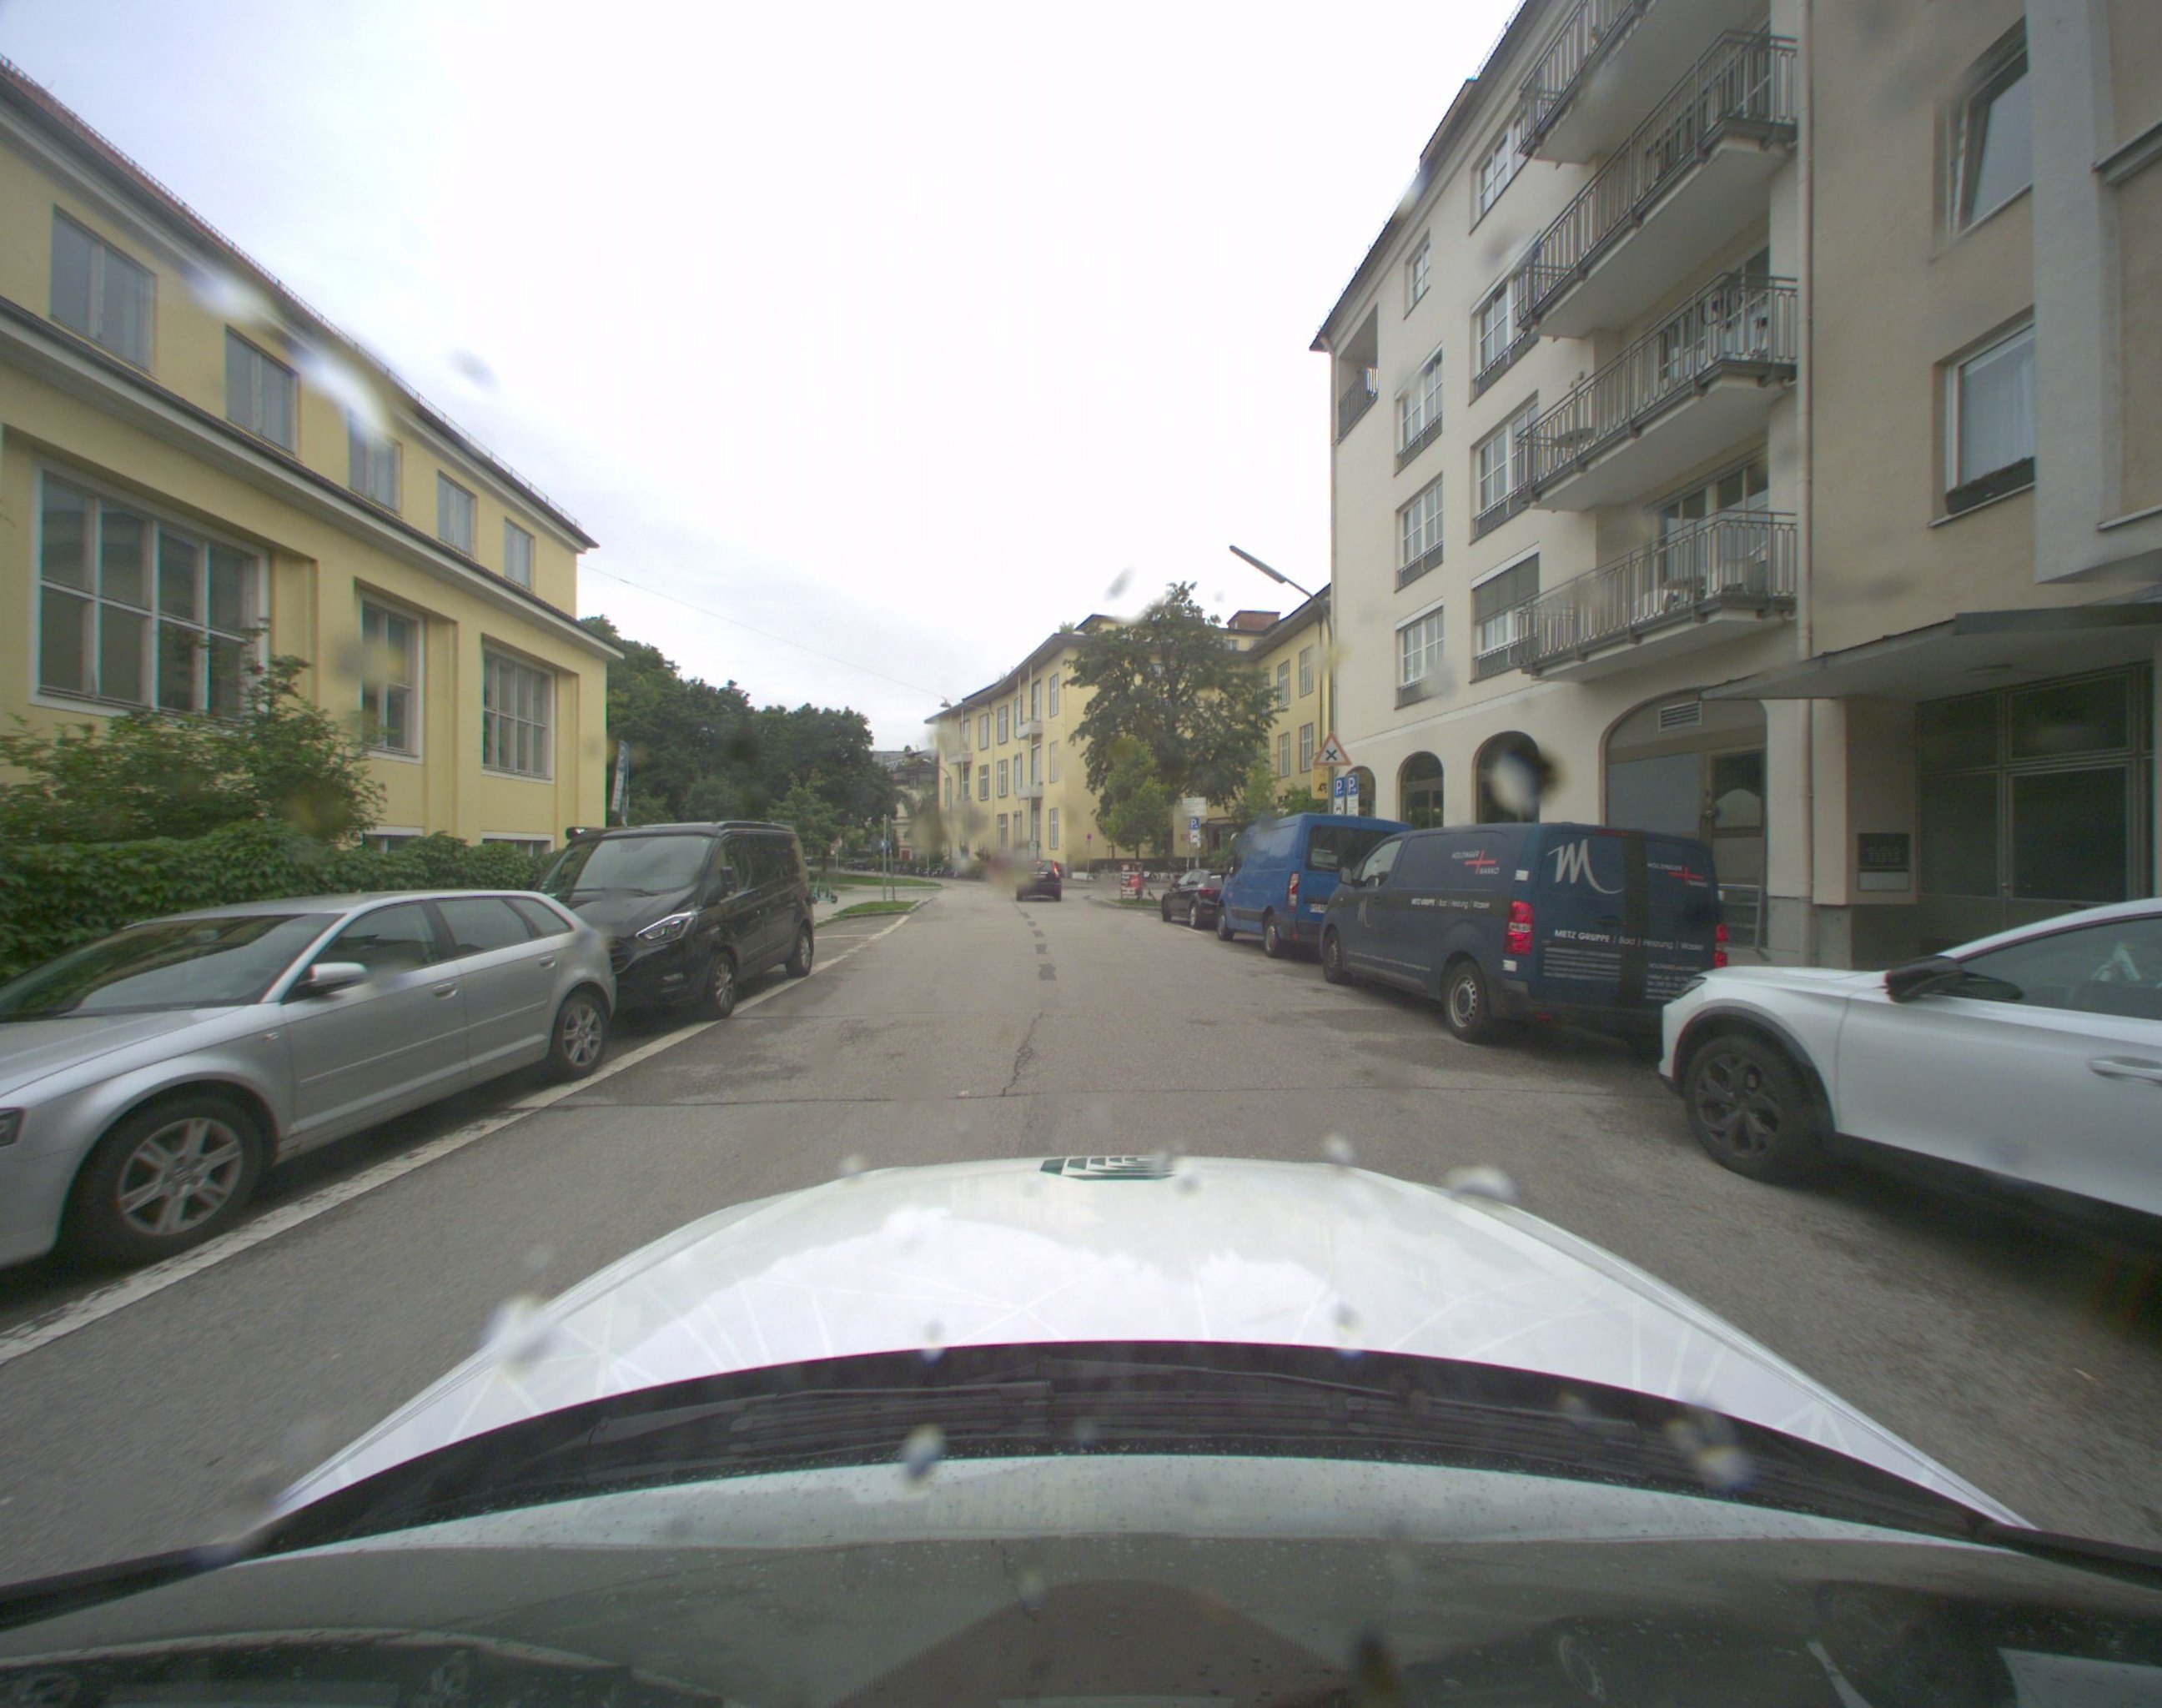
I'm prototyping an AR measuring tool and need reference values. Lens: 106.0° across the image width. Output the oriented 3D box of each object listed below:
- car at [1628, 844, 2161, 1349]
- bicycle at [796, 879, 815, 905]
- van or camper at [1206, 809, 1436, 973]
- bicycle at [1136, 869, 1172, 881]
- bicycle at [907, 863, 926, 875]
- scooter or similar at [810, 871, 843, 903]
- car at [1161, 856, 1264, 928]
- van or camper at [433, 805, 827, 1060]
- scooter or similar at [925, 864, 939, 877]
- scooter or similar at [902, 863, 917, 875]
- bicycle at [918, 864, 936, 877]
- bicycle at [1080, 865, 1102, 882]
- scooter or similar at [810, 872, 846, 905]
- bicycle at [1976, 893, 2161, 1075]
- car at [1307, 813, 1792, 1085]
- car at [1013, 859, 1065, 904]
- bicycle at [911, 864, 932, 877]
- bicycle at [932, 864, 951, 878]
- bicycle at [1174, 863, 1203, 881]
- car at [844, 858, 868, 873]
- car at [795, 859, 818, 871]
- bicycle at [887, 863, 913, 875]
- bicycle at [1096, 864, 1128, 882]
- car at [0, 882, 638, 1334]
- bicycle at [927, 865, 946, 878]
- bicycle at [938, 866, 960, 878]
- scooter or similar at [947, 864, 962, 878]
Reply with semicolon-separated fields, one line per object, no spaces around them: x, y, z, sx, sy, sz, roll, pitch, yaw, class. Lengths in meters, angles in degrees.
4.189;0.793;2.641;1.735;1.537;4.268;4;-1;-3;car
-10.594;1.446;31.265;0.473;0.923;1.193;0;0;-30;bicycle
3.871;0.551;14.393;2.056;2.231;5.431;4;-1;-4;van or camper
4.552;1.306;50.772;2.194;0.779;0.612;0;0;15;bicycle
-15.092;1.371;74.822;0.756;1.085;2.152;-1;0;19;bicycle
-10.178;1.319;32.577;0.441;1.220;1.189;-3;-1;32;scooter or similar
3.223;0.880;20.680;1.700;1.518;3.954;5;-1;-3;car
-4.563;0.667;9.307;1.956;2.065;4.748;-3;0;-3;van or camper
-13.196;1.483;72.118;0.491;1.088;1.417;-1;0;23;scooter or similar
-16.565;1.466;78.772;1.406;1.088;0.594;-1;0;-13;scooter or similar
-13.724;1.434;72.422;0.632;1.085;1.995;-1;0;19;bicycle
0.652;1.288;54.210;0.610;1.072;2.201;-1;0;-21;bicycle
-9.895;1.342;31.819;1.175;1.220;0.601;-3;-1;-3;scooter or similar
7.947;0.916;5.613;1.143;1.186;2.207;0;0;0;bicycle
4.122;0.712;8.420;1.959;1.816;4.932;6;-1;-2;car
-1.793;1.096;33.826;1.992;1.694;4.373;1;0;-4;car
-14.284;1.442;73.109;0.690;1.085;2.350;-1;0;19;bicycle
-12.175;1.483;71.274;0.570;1.085;1.945;-1;0;27;bicycle
6.707;1.114;50.828;1.729;1.150;0.610;0;0;-1;bicycle
-25.802;1.327;93.310;1.874;1.634;4.244;0;0;-28;car
-38.851;1.598;115.024;2.190;1.657;4.461;0;0;-31;car
-17.861;1.485;80.353;2.349;1.085;0.685;-1;0;-36;bicycle
1.951;1.176;52.068;2.189;1.117;0.614;0;-1;43;bicycle
-4.398;0.949;4.475;1.614;1.378;4.071;-3;0;0;car
-12.706;1.504;71.796;0.570;1.085;1.945;-1;0;27;bicycle
-11.202;1.535;69.146;1.835;1.005;0.571;-1;0;-33;bicycle
-10.536;1.441;67.905;0.491;1.109;1.417;-1;0;23;scooter or similar
